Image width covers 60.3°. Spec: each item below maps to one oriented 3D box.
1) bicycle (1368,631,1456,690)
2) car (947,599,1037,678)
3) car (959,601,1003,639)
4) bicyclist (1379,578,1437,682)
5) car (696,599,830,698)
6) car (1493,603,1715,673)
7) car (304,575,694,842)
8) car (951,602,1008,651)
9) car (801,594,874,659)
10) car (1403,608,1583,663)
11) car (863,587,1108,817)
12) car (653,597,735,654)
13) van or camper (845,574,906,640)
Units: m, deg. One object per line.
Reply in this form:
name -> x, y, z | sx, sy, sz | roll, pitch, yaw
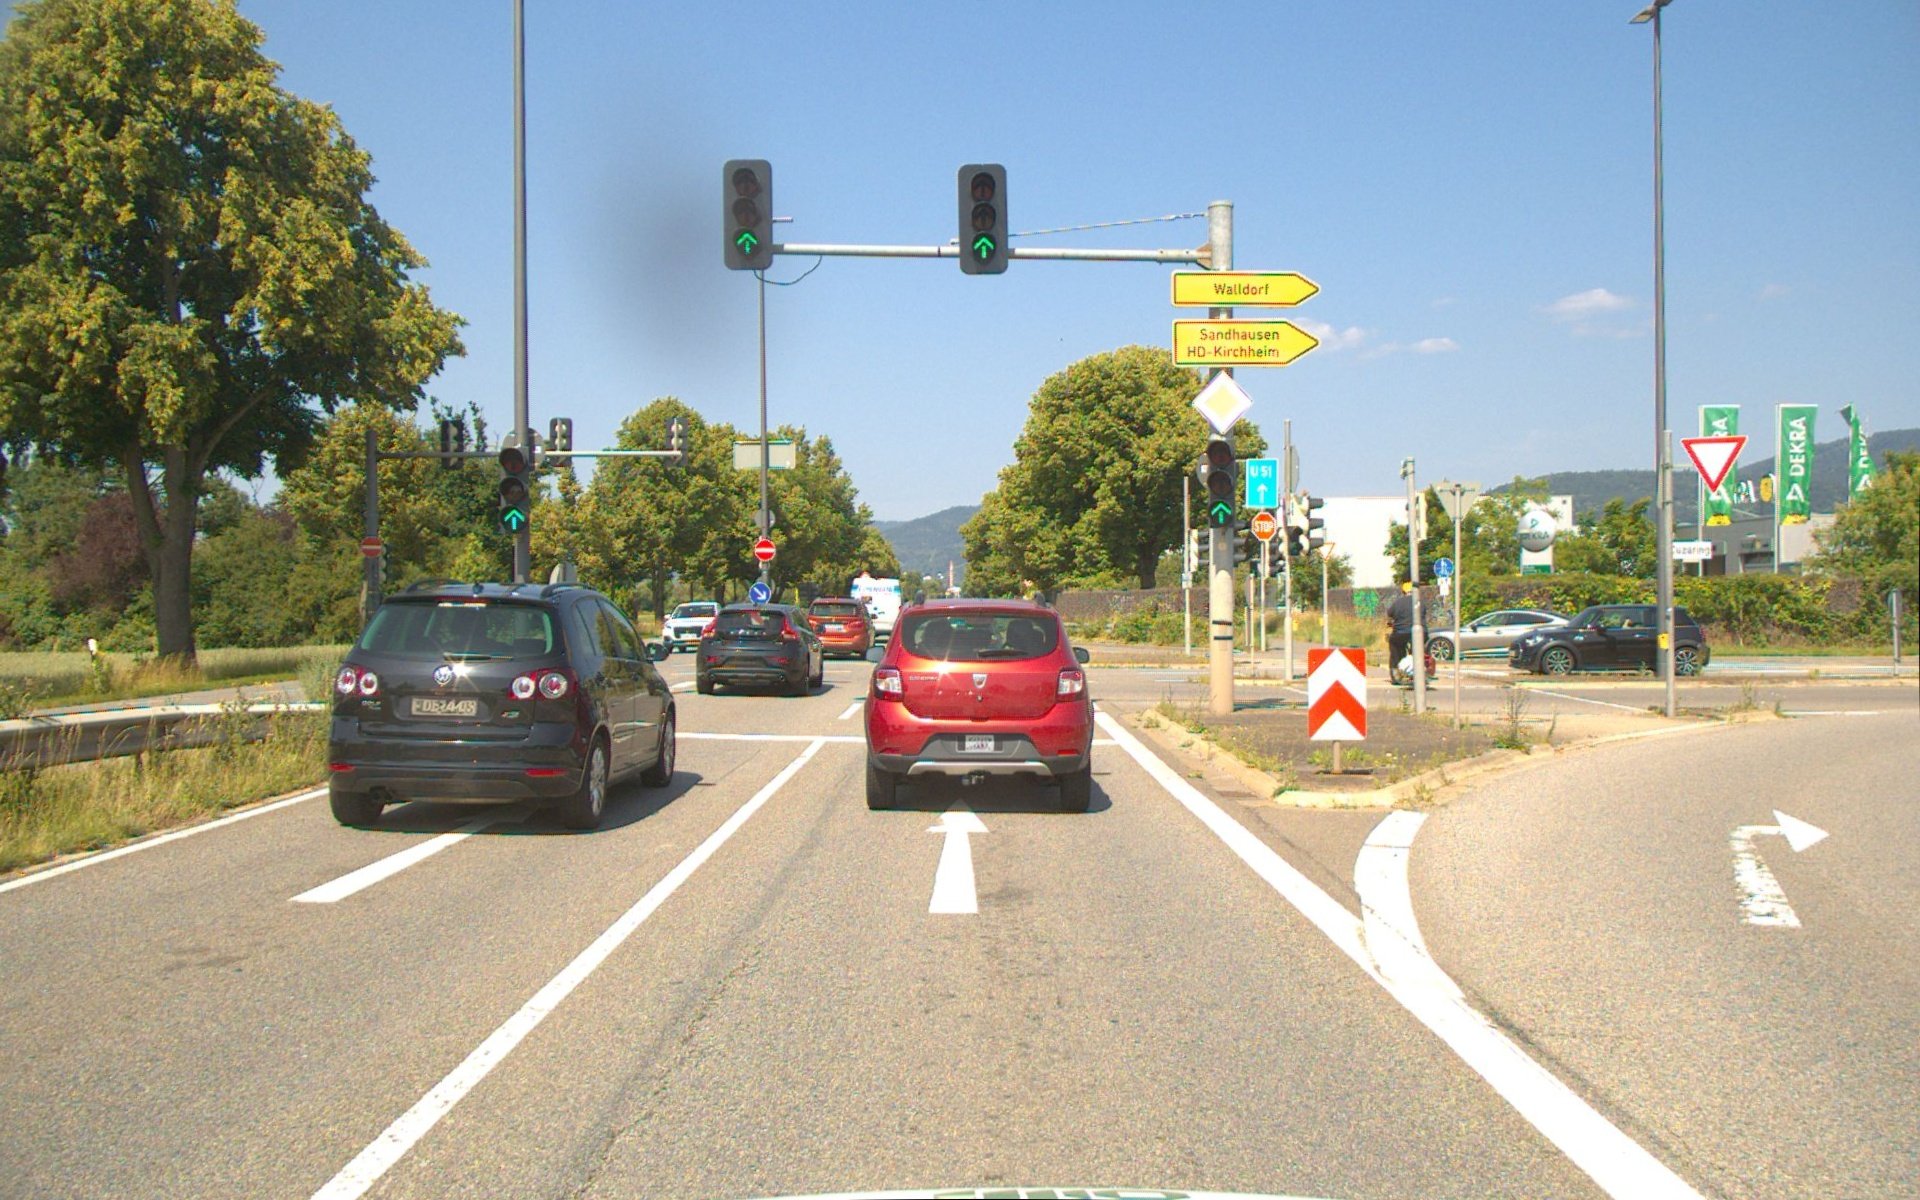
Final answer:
bicycle -> 7.974, 1.044, 29.313 | 0.746, 0.931, 2.779 | -1, 0, -1
car -> 0.656, 0.738, 33.268 | 1.713, 1.483, 3.677 | 0, 0, 1
car -> 0.881, 0.792, 66.883 | 1.713, 1.483, 3.677 | 0, 0, 1
bicyclist -> 7.961, 0.524, 29.420 | 0.786, 1.802, 0.808 | -1, 0, -1
car -> -3.152, 0.735, 27.144 | 1.667, 1.467, 3.955 | 1, 0, 0
car -> 12.903, 0.755, 33.364 | 3.901, 1.350, 1.808 | -1, 0, 11
car -> -3.115, 0.654, 12.004 | 1.688, 1.603, 3.892 | 1, 0, 0
car -> 0.646, 0.817, 52.325 | 1.713, 1.483, 3.677 | 0, 0, 1
car -> -3.157, 0.652, 43.216 | 1.689, 1.628, 3.954 | 0, 0, -2
car -> 13.888, 0.906, 43.146 | 4.277, 1.350, 1.805 | -1, 0, 25
car -> 0.228, 0.725, 13.520 | 1.713, 1.603, 3.677 | 1, 0, 1
car -> -8.285, 0.760, 51.884 | 1.953, 1.699, 3.999 | -1, 0, -1
van or camper -> -3.102, 0.231, 61.304 | 2.135, 2.343, 4.824 | 0, 0, -2
